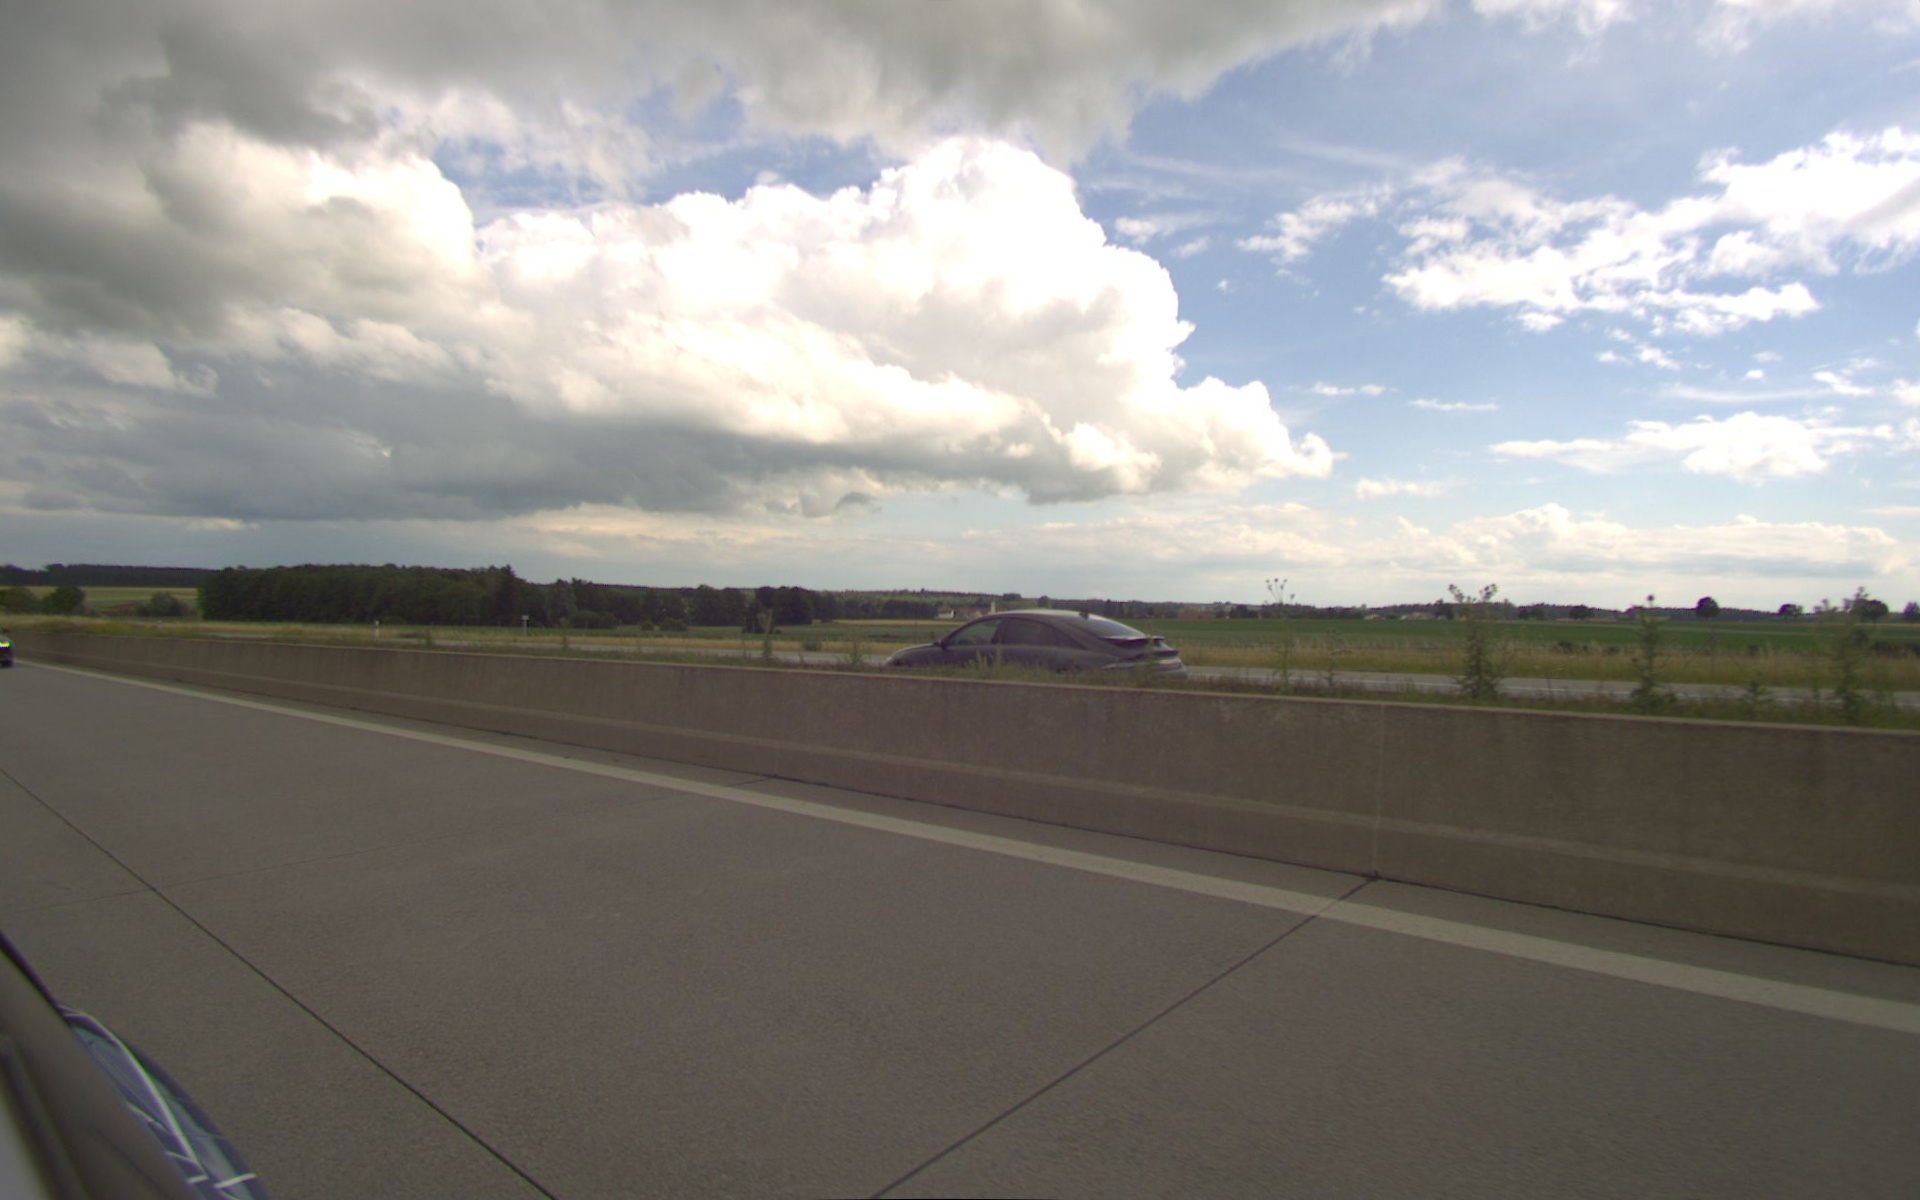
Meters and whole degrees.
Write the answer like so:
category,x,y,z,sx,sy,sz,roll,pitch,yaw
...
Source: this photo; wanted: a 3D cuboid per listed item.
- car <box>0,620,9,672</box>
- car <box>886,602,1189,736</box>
category,x,y,z,sx,sy,sz,roll,pitch,yaw
car,-29.090,1.332,29.310,3.999,1.484,1.914,-1,-1,42
car,0.989,0.850,14.383,4.176,1.615,1.593,0,1,41
